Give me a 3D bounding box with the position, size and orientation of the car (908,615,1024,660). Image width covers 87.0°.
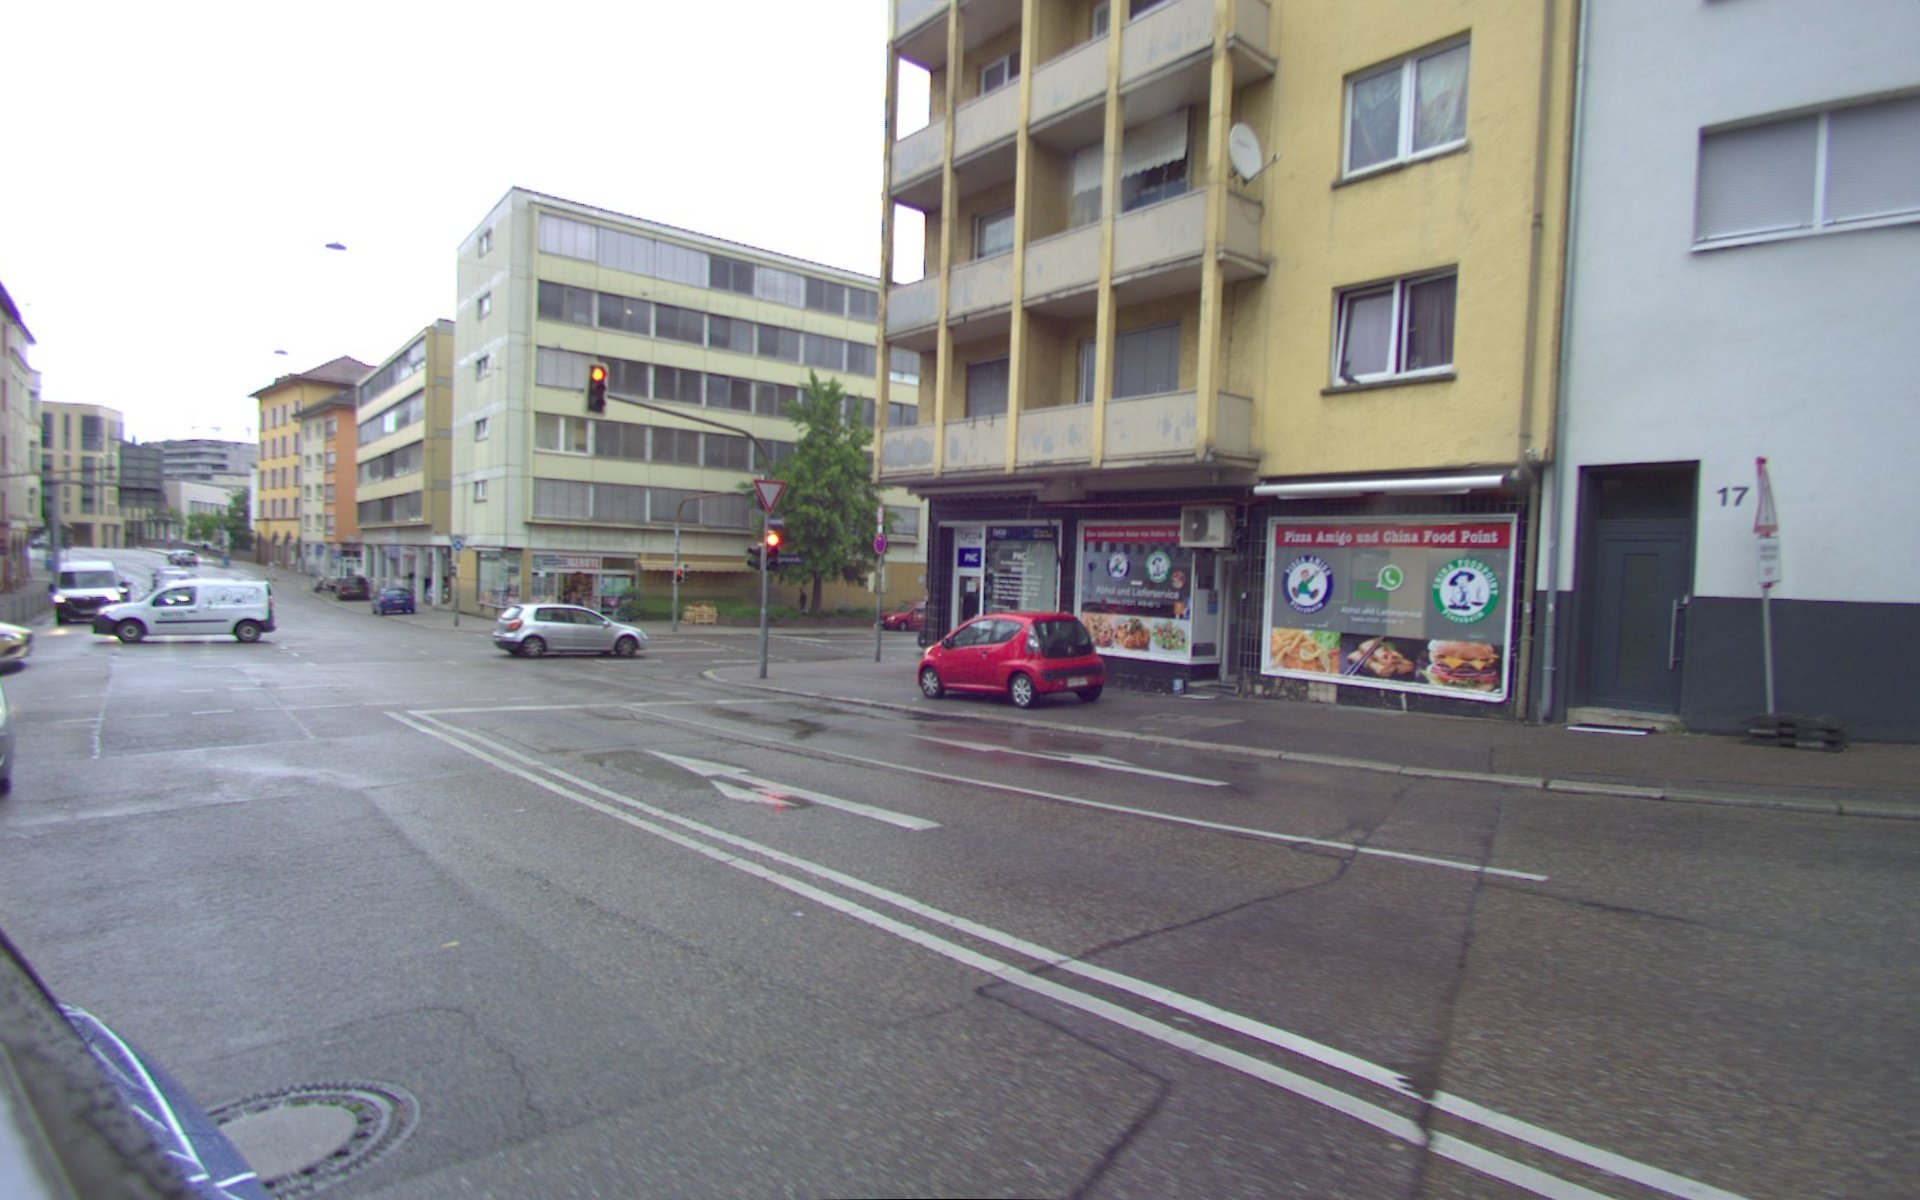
[{"bbox_3d":[0.250,1.398,37.370,4.100,1.435,1.691,5,-4,-39],"label":"car"}]

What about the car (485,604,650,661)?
[{"bbox_3d":[-10.925,0.888,28.294,3.972,1.435,1.691,2,0,-39],"label":"car"}]

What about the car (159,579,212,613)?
[{"bbox_3d":[-35.506,-0.189,46.395,1.820,1.430,3.577,-2,2,-38],"label":"car"}]

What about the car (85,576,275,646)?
[{"bbox_3d":[-22.338,0.342,29.167,4.161,1.869,1.996,2,-1,-37],"label":"car"}]

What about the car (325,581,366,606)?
[{"bbox_3d":[-41.375,-0.475,68.069,1.820,1.579,4.378,-2,2,-38],"label":"car"}]

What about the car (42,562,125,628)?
[{"bbox_3d":[-35.864,-0.239,41.538,2.197,2.543,5.482,-1,1,-38],"label":"car"}]

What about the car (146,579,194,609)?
[{"bbox_3d":[-40.517,-0.312,51.929,1.820,1.430,3.577,-2,2,-38],"label":"car"}]

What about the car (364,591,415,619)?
[{"bbox_3d":[-30.578,0.237,54.197,1.820,1.430,3.577,-2,2,-38],"label":"car"}]

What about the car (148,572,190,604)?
[{"bbox_3d":[-46.092,-0.703,59.004,1.820,1.727,3.577,-2,2,-38],"label":"car"}]

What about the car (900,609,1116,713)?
[{"bbox_3d":[0.701,0.917,16.793,1.589,1.475,3.540,-2,1,-39],"label":"car"}]

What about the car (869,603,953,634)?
[{"bbox_3d":[-2.452,0.935,51.126,3.826,1.437,1.730,2,1,-34],"label":"car"}]

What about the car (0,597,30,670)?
[{"bbox_3d":[-21.347,0.616,19.775,4.508,1.452,1.995,2,-1,-39],"label":"car"}]

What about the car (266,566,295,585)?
[{"bbox_3d":[-59.407,-2.119,88.444,1.820,1.579,4.378,-2,2,-38],"label":"car"}]

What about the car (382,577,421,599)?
[{"bbox_3d":[-41.780,-0.883,75.673,1.821,1.579,4.378,-2,2,-38],"label":"car"}]

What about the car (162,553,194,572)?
[{"bbox_3d":[-77.609,-3.705,100.384,4.371,1.721,1.824,4,2,44],"label":"car"}]

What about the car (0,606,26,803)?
[{"bbox_3d":[-9.287,0.846,8.547,3.837,1.516,1.665,-1,0,41],"label":"car"}]

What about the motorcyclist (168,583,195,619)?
[{"bbox_3d":[-32.396,0.032,42.100,0.865,1.490,0.798,1,0,-39],"label":"motorcyclist"}]

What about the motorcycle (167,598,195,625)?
[{"bbox_3d":[-32.315,0.476,41.983,0.865,1.108,1.804,1,0,-38],"label":"motorcycle"}]

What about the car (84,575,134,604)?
[{"bbox_3d":[-45.214,-0.573,53.833,1.820,1.430,3.577,-2,2,-38],"label":"car"}]

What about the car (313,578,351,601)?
[{"bbox_3d":[-45.501,-0.749,73.273,1.820,1.579,4.378,-2,2,-38],"label":"car"}]
